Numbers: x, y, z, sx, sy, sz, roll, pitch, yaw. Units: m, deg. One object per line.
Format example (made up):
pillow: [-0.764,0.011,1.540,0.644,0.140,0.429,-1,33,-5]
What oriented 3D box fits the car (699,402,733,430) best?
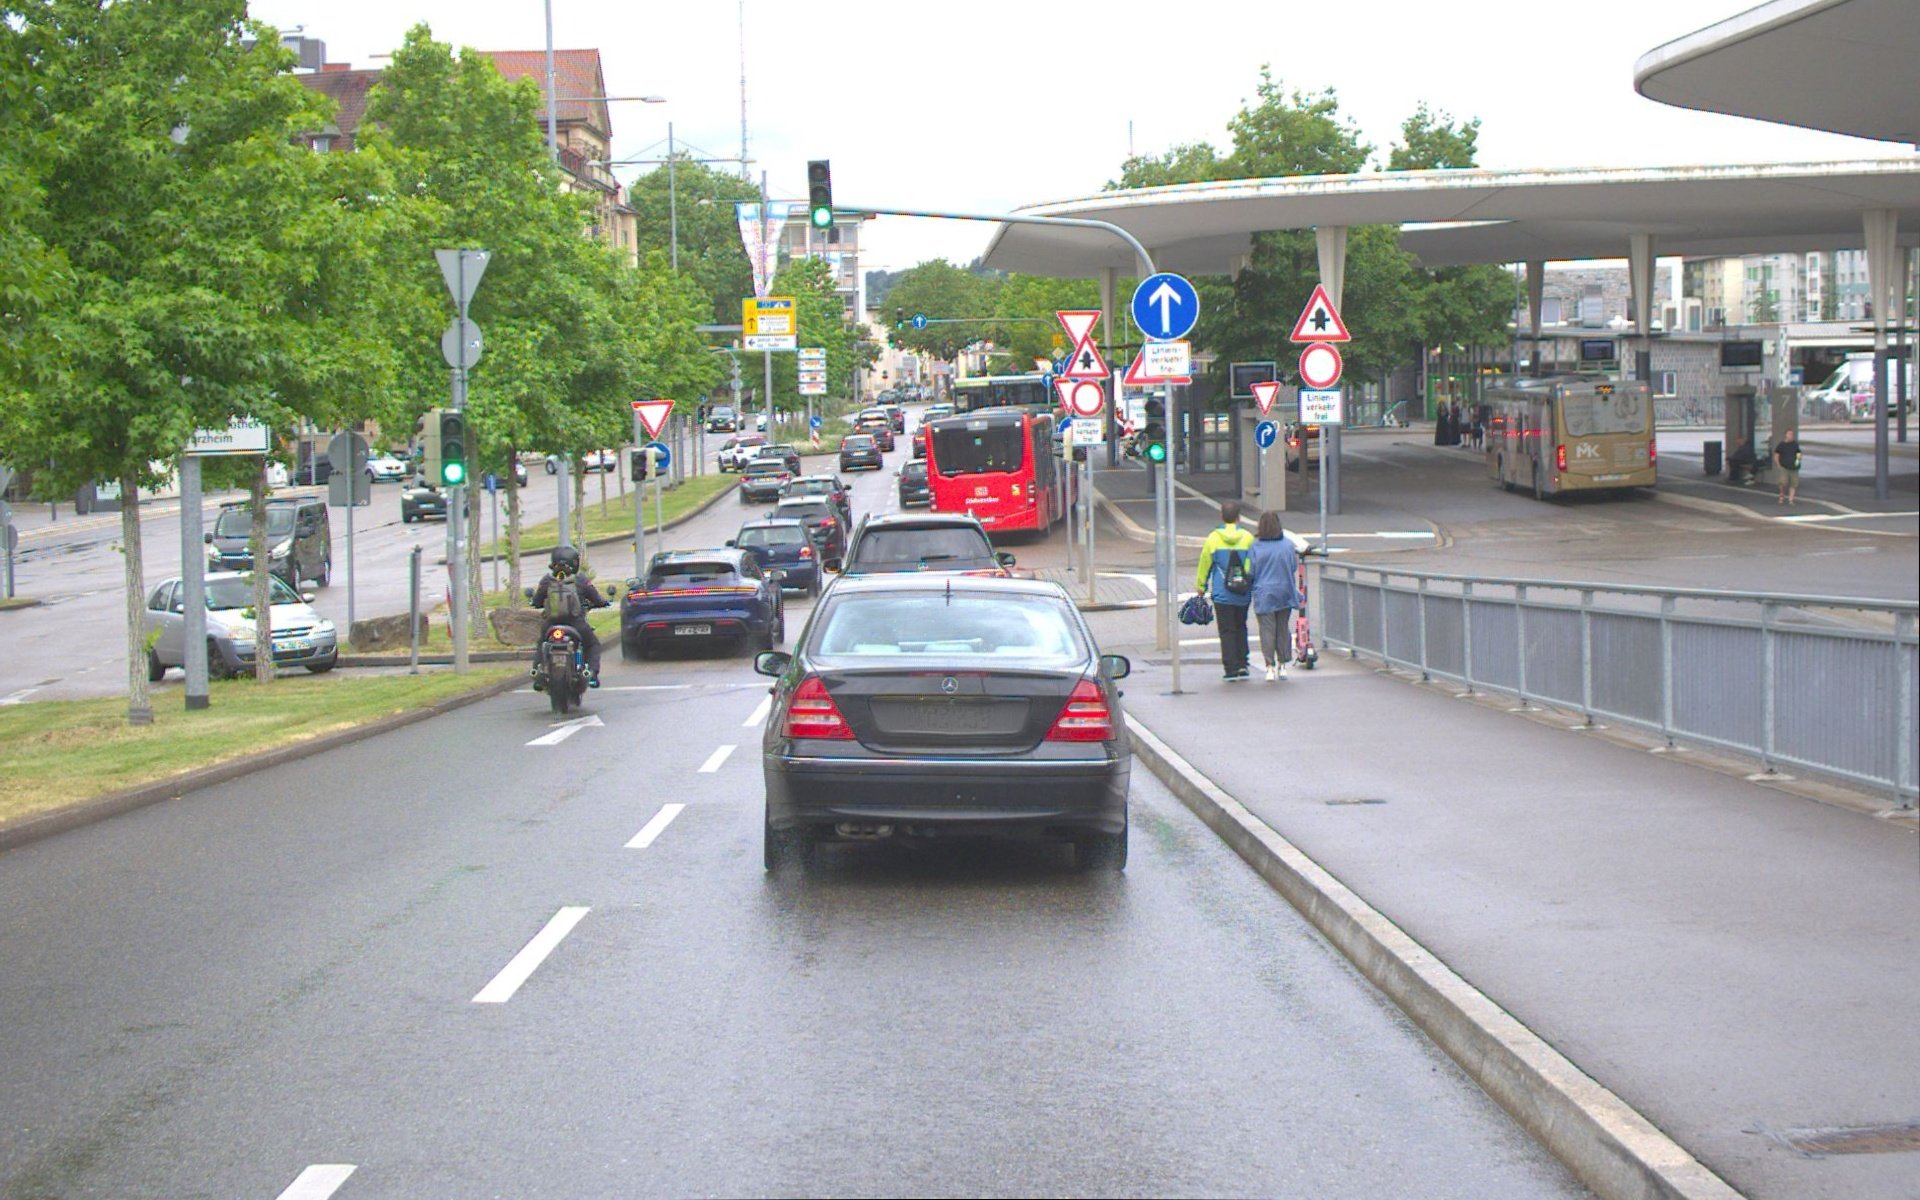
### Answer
car: [-15.241,-11.487,214.619,1.780,1.561,3.431,-4,4,0]

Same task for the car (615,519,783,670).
car: [-3.424,-0.117,45.879,1.816,1.565,4.405,-4,4,0]

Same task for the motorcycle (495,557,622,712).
motorcycle: [-3.780,0.305,32.513,0.793,1.257,1.855,-4,4,3]

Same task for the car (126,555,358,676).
car: [-9.710,0.174,46.300,1.632,1.443,3.876,-5,3,-34]

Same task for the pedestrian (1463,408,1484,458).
pedestrian: [17.641,-5.727,118.105,0.560,1.686,0.614,-2,4,-7]

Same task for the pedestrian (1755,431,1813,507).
pedestrian: [18.931,-3.016,78.992,0.717,1.678,1.021,-6,4,-26]

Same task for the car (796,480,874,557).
car: [-2.923,-1.940,80.971,1.575,1.499,3.872,-4,4,1]

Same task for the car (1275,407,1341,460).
car: [11.856,-5.691,117.227,1.711,1.656,4.241,-1,4,-1]

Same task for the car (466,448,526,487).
car: [-20.098,-5.764,149.086,1.847,1.499,4.920,-2,4,1]

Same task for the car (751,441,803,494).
car: [-7.068,-5.126,133.086,1.797,1.900,3.640,1,0,0]

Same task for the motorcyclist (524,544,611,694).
motorcyclist: [-3.720,0.176,32.638,0.641,1.342,0.689,-3,4,3]

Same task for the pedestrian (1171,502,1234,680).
pedestrian: [2.297,-0.089,32.614,0.522,1.664,0.580,-1,1,-1]

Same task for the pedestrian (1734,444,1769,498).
pedestrian: [20.669,-3.371,89.753,0.793,1.373,0.633,-2,4,17]

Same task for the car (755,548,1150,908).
car: [-0.058,0.525,17.117,1.697,1.457,4.304,-1,2,-1]

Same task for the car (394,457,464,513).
car: [-18.293,-3.990,118.551,1.908,1.656,4.860,-2,5,-4]

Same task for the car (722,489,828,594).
car: [-3.423,-1.118,64.283,1.676,1.617,3.872,-4,4,0]

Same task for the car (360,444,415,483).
car: [-27.144,-6.494,163.100,1.847,1.646,4.420,-2,4,0]

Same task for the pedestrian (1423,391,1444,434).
pedestrian: [17.650,-7.006,128.233,0.580,1.573,0.560,1,0,29]

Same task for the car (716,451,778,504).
car: [-7.136,-4.103,115.568,1.865,1.678,4.000,1,1,-1]

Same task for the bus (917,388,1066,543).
bus: [0.767,-3.436,84.946,3.286,3.280,10.880,-3,4,1]

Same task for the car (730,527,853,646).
car: [-2.730,-0.252,56.434,1.741,1.561,3.872,-4,4,0]

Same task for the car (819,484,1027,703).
car: [-0.386,-0.150,37.152,1.957,1.869,4.875,-4,4,0]

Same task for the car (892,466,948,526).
car: [-1.204,-3.217,105.507,1.575,1.561,3.872,-4,4,0]

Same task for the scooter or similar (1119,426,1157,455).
scooter or similar: [6.629,-5.924,127.812,1.243,1.009,0.764,-2,3,14]

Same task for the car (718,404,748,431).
car: [-14.530,-11.699,220.404,1.575,1.561,3.431,-4,4,0]

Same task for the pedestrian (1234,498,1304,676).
pedestrian: [2.920,-0.122,32.561,0.589,1.665,0.580,1,-1,-1]

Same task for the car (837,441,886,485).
car: [-3.988,-5.549,139.613,1.865,1.678,4.000,1,1,-1]

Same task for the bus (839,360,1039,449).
bus: [-1.155,-9.555,168.740,2.839,3.973,11.860,-5,5,-39]

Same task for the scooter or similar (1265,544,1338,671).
scooter or similar: [3.414,0.066,34.481,0.463,1.217,1.859,-3,1,-1]

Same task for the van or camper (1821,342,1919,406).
van or camper: [38.702,-9.466,144.138,4.607,2.549,2.119,1,2,-1]

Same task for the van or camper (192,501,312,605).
van or camper: [-15.554,-1.014,75.763,2.216,2.065,5.285,-4,1,-9]

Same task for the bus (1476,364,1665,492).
bus: [16.230,-4.730,92.361,2.721,3.032,12.092,-3,4,0]

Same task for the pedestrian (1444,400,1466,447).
pedestrian: [18.460,-6.581,128.303,0.580,1.710,0.560,2,0,35]

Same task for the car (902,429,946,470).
car: [-1.578,-6.528,149.388,1.865,1.678,4.000,1,1,-1]

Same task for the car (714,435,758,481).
car: [-9.540,-6.041,146.669,1.642,1.798,3.640,1,0,0]

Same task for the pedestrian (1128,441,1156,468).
pedestrian: [6.785,-5.414,128.039,0.914,0.981,0.633,-1,0,14]

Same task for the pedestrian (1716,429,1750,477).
pedestrian: [20.669,-3.935,91.932,0.793,1.222,0.633,-2,4,17]
